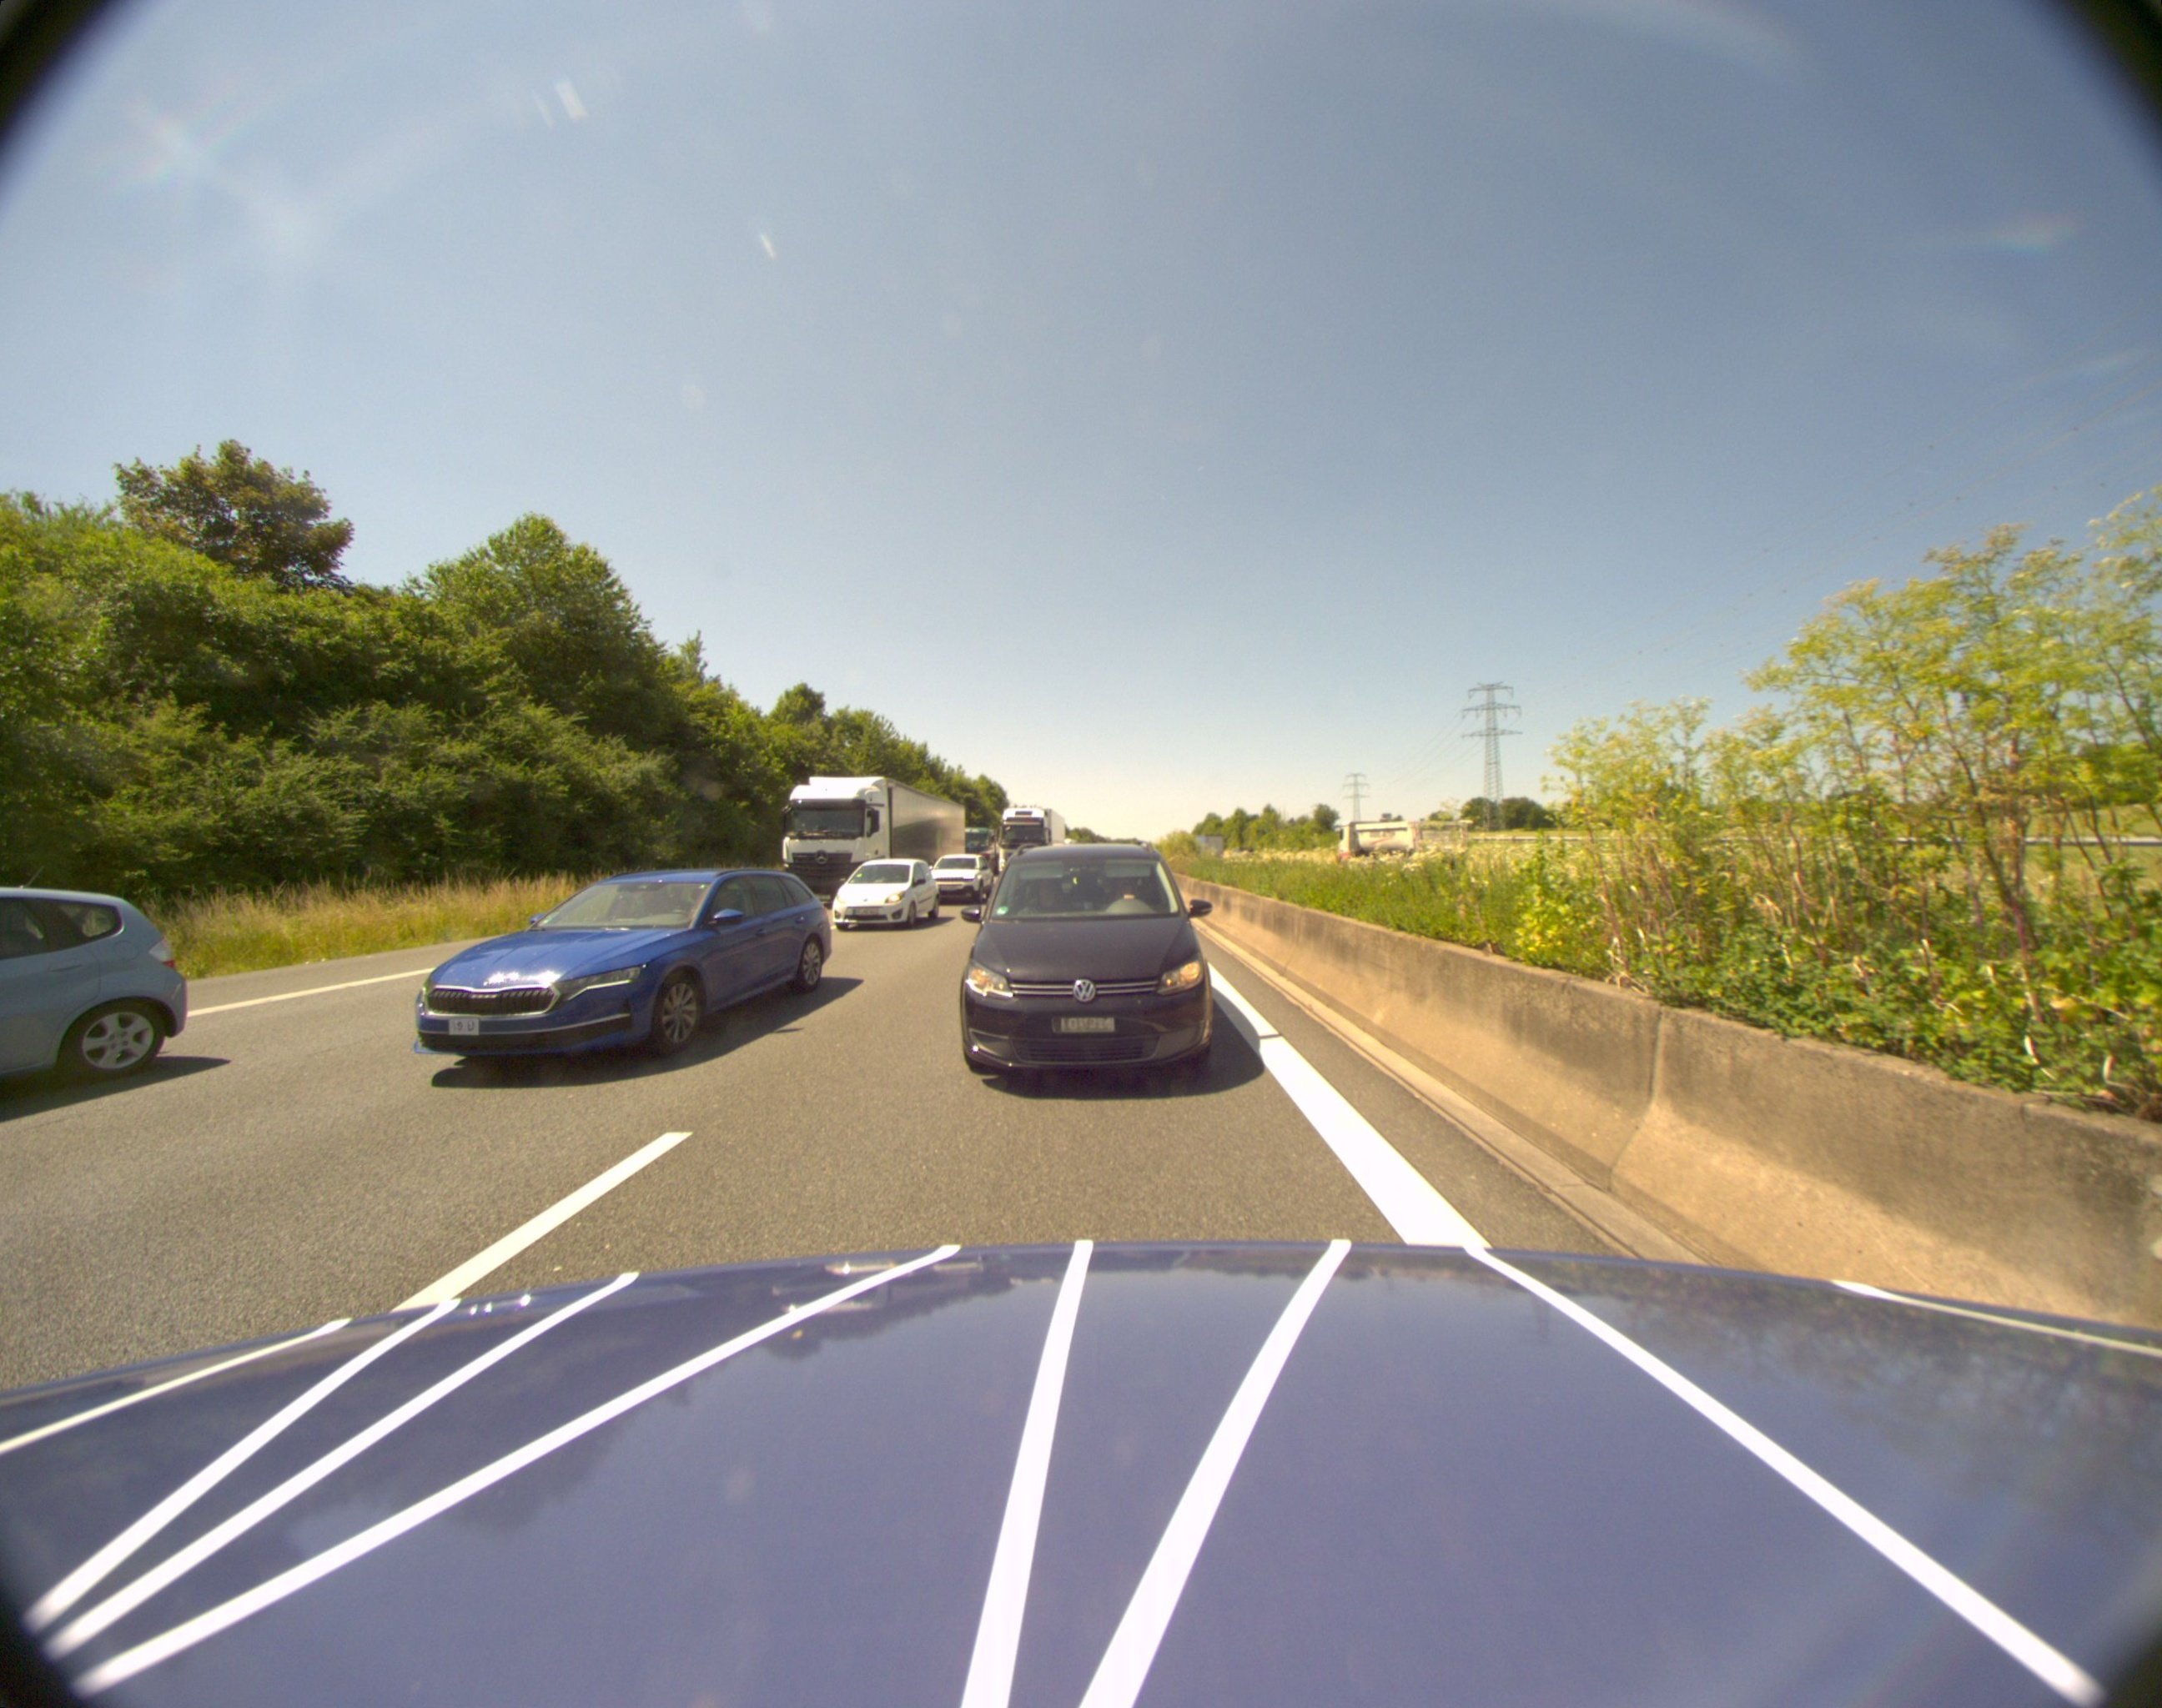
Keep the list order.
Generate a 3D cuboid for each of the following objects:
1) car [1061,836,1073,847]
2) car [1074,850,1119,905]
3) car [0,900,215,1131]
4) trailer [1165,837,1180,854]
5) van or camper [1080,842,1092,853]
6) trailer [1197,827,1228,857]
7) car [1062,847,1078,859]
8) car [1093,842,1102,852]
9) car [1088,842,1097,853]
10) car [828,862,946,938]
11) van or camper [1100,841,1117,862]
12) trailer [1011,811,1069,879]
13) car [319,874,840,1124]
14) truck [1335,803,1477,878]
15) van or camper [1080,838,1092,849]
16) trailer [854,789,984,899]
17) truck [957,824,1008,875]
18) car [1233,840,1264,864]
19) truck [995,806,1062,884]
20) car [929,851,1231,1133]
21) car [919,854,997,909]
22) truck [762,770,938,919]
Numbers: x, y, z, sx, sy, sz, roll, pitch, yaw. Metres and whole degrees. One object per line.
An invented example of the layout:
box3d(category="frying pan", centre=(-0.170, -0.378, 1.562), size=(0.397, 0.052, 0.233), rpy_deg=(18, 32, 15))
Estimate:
box3d(category="car", centre=(-2.592, -2.394, 143.428), size=(1.998, 2.002, 4.000), rpy_deg=(-1, 1, 2))
box3d(category="car", centre=(0.551, 0.745, 25.485), size=(1.357, 1.630, 2.994), rpy_deg=(-3, 1, 3))
box3d(category="car", centre=(-8.054, 1.128, 4.339), size=(1.666, 1.453, 3.922), rpy_deg=(0, 1, 1))
box3d(category="trailer", centre=(23.793, -2.213, 198.240), size=(2.828, 4.182, 10.684), rpy_deg=(-3, 1, 2))
box3d(category="van or camper", centre=(0.972, -1.171, 145.581), size=(2.189, 2.018, 4.364), rpy_deg=(-1, 1, 3))
box3d(category="trailer", centre=(19.334, -1.775, 112.432), size=(3.019, 4.203, 10.980), rpy_deg=(-1, 1, 2))
box3d(category="car", centre=(-1.319, -0.092, 91.998), size=(1.650, 1.336, 3.381), rpy_deg=(-1, 1, 3))
box3d(category="car", centre=(4.066, -1.687, 184.738), size=(1.998, 2.302, 4.229), rpy_deg=(-1, 1, 2))
box3d(category="car", centre=(2.507, -1.486, 166.139), size=(1.998, 2.302, 4.229), rpy_deg=(-2, 1, 1))
box3d(category="car", centre=(-4.262, 0.946, 17.252), size=(1.609, 1.426, 3.809), rpy_deg=(0, 1, 1))
box3d(category="van or camper", centre=(3.371, -0.324, 93.195), size=(1.956, 2.368, 4.037), rpy_deg=(-3, 1, 3))
box3d(category="trailer", centre=(-2.509, -0.616, 49.728), size=(2.776, 3.951, 9.156), rpy_deg=(-1, 1, 3))
box3d(category="car", centre=(-3.989, 1.009, 7.224), size=(1.780, 1.408, 4.572), rpy_deg=(0, 1, 2))
box3d(category="truck", centre=(16.416, -0.664, 39.664), size=(2.771, 3.269, 11.820), rpy_deg=(-1, 1, 2))
box3d(category="van or camper", centre=(1.225, -2.657, 191.340), size=(2.745, 2.680, 5.363), rpy_deg=(-1, 1, 2))
box3d(category="trailer", centre=(-6.938, -0.476, 35.044), size=(2.880, 4.133, 12.075), rpy_deg=(-1, 1, 2))
box3d(category="truck", centre=(-6.446, -0.331, 50.608), size=(2.299, 3.128, 5.675), rpy_deg=(-1, 1, 3))
box3d(category="car", centre=(13.320, -0.178, 60.504), size=(1.609, 1.777, 4.026), rpy_deg=(-1, 1, 1))
box3d(category="truck", centre=(-2.797, -0.525, 43.223), size=(2.750, 3.972, 8.361), rpy_deg=(-1, 1, 3))
box3d(category="car", centre=(0.082, 0.812, 7.134), size=(1.758, 1.571, 5.291), rpy_deg=(-1, 1, 2))
box3d(category="car", centre=(-3.884, 0.811, 24.524), size=(1.748, 1.549, 3.884), rpy_deg=(0, 1, 2))
box3d(category="truck", centre=(-7.300, -0.317, 25.612), size=(2.879, 4.133, 8.475), rpy_deg=(-1, 1, 3))
